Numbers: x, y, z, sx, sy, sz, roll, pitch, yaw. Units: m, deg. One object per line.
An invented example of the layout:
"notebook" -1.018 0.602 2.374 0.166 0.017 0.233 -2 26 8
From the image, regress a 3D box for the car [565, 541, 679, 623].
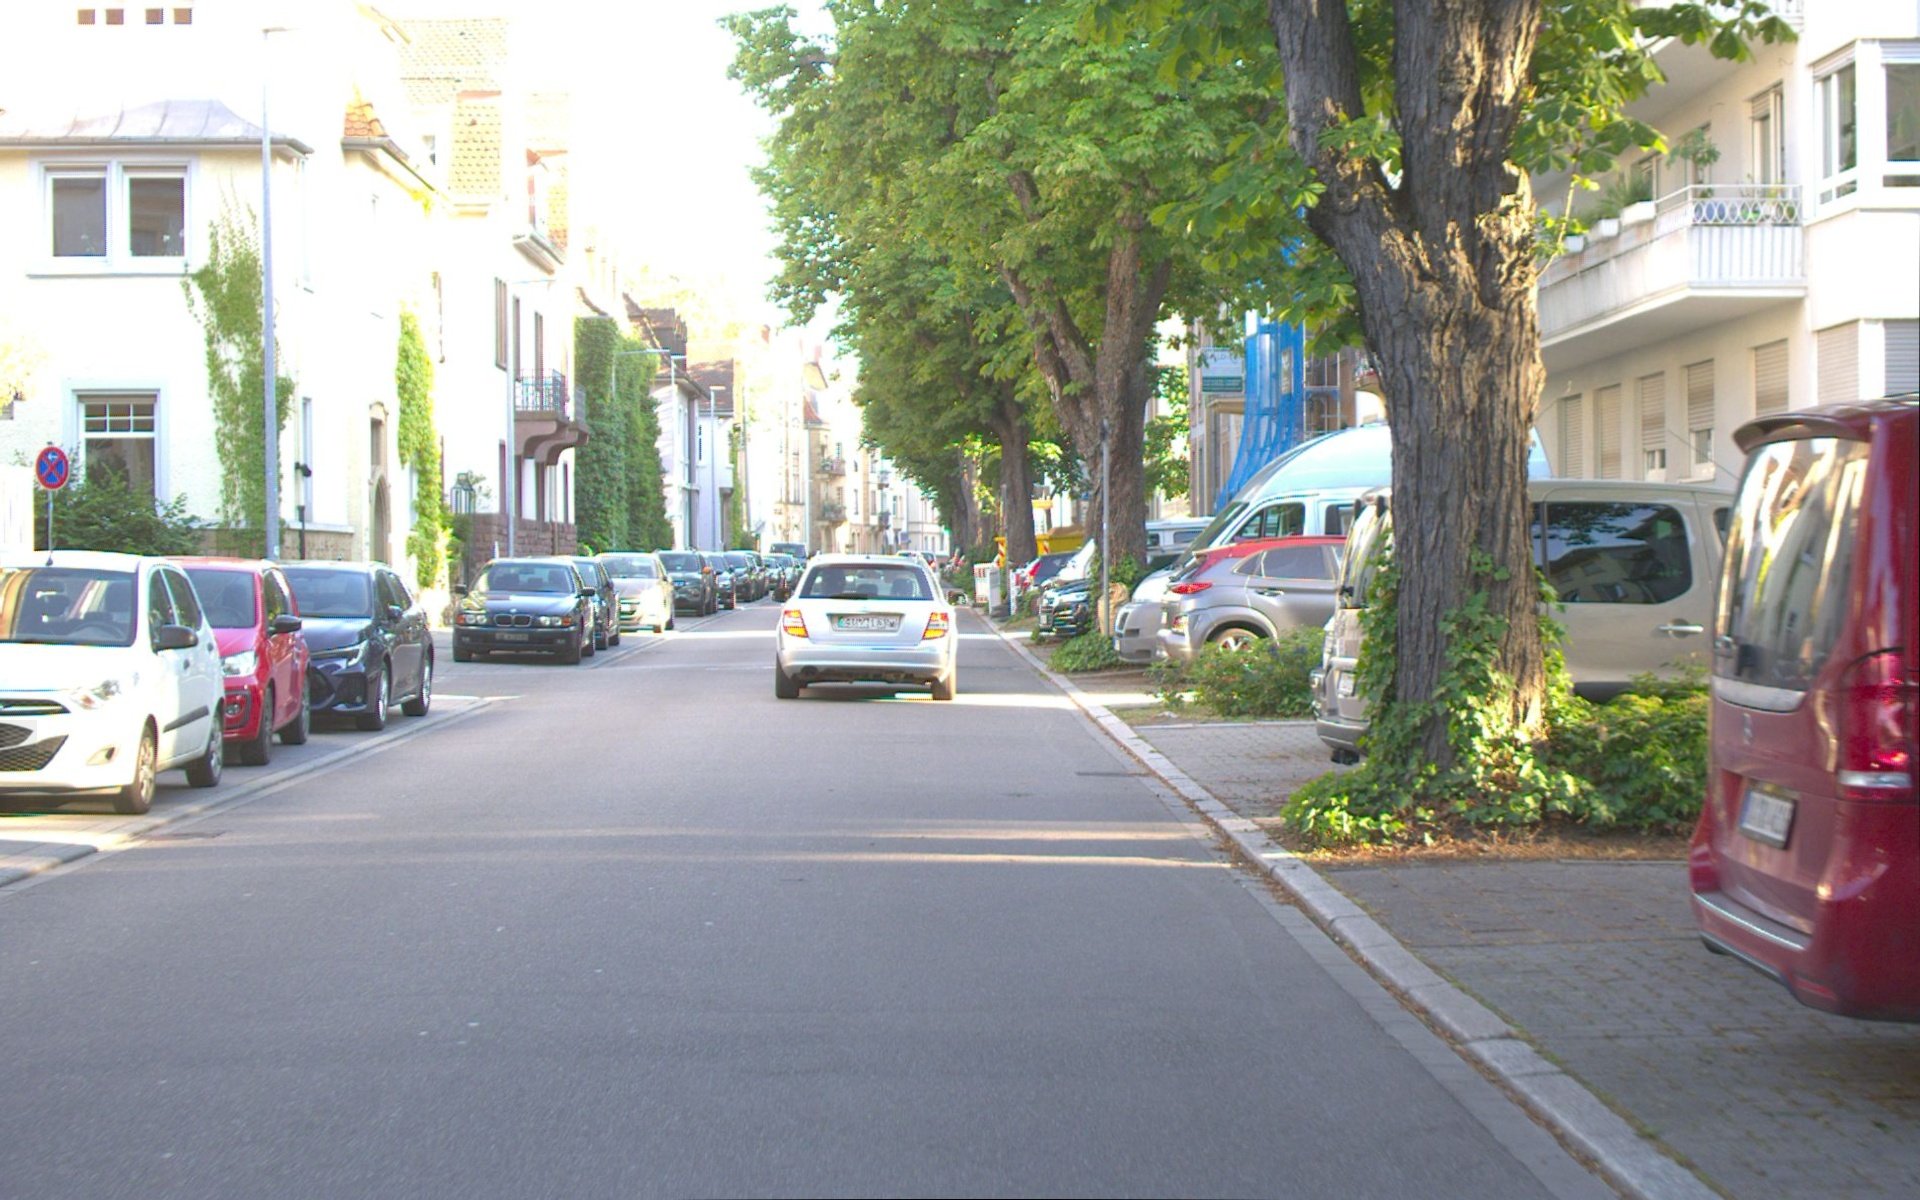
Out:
"car" -6.308 -0.361 64.445 1.799 1.477 3.857 0 1 -1

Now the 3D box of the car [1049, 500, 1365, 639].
"car" 3.680 -0.479 51.903 4.518 2.007 2.251 -1 1 -2

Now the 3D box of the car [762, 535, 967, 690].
"car" -0.906 0.115 34.732 1.817 1.468 4.216 0 0 2

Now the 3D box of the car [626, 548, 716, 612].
"car" -6.581 -0.475 78.666 1.799 1.382 3.606 0 1 -1

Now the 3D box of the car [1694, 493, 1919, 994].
"car" 4.564 0.423 11.700 3.781 1.583 1.793 0 1 2

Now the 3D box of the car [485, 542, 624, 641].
"car" -6.356 -0.165 54.202 1.799 1.477 3.857 0 1 -1

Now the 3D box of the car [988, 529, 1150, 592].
"car" 2.612 -0.954 82.994 3.844 1.477 1.805 0 1 0

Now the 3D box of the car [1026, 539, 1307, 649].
"car" 2.868 -0.096 48.427 3.844 1.477 1.805 0 1 0

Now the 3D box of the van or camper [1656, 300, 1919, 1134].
"van or camper" 4.206 0.279 9.188 4.313 2.007 2.000 0 1 2

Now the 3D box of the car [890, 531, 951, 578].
"car" -1.273 -1.460 112.226 1.817 1.468 4.216 0 0 2

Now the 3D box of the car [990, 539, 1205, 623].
"car" 2.481 -0.362 62.820 3.844 1.477 1.805 0 1 0

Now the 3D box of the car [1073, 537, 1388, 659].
"car" 3.384 -0.036 43.566 3.844 1.477 1.805 0 1 0

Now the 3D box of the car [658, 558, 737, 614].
"car" -6.746 -0.372 88.556 1.799 1.382 3.606 0 1 -1

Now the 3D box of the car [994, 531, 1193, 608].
"car" 2.607 -0.609 67.886 3.844 1.477 1.805 0 1 0

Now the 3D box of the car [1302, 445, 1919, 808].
"car" 4.119 0.114 19.378 4.129 1.915 1.891 -1 1 -2

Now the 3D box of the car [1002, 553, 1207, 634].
"car" 2.733 -0.128 65.625 3.844 1.477 1.805 0 1 0

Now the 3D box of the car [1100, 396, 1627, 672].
"car" 4.469 -0.750 38.778 5.541 2.958 2.472 -1 1 -3

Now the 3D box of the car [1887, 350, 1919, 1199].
"car" 4.282 0.430 6.277 4.625 1.830 1.954 0 1 -1

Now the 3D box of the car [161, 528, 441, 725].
"car" -5.770 0.181 30.529 1.799 1.639 3.857 0 1 -1

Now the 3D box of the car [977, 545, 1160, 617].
"car" 2.300 -0.414 73.453 3.844 1.477 1.805 0 1 0

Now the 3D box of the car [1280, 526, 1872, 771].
"car" 4.039 0.290 22.884 3.594 1.536 1.650 -1 1 -2

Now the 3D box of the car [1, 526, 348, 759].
"car" -5.875 0.312 26.144 1.799 1.639 3.857 0 0 -1

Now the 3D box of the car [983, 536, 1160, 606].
"car" 2.433 -0.649 75.926 3.844 1.477 1.805 0 1 0

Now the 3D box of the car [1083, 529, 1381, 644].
"car" 3.605 -0.197 46.054 3.844 1.477 1.805 0 1 0

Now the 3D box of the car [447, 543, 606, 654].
"car" -6.071 -0.051 48.475 1.799 1.477 3.857 0 1 -1

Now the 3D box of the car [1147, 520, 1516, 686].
"car" 3.828 0.010 35.770 3.594 1.654 1.650 -1 1 -2

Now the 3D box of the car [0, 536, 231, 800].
"car" -5.653 0.370 21.317 1.659 1.494 3.754 0 0 -3

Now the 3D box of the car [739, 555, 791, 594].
"car" -7.344 -0.971 129.552 1.799 1.382 3.606 0 1 -1

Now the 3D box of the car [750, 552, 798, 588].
"car" -7.526 -1.218 139.020 1.799 1.382 3.606 0 1 -1

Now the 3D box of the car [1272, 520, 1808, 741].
"car" 4.193 0.197 25.198 3.594 1.536 1.650 -1 1 -2

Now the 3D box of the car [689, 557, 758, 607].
"car" -6.859 -0.539 99.928 1.799 1.382 3.606 0 1 -1

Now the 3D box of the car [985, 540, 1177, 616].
"car" 2.440 -0.458 70.064 3.844 1.477 1.805 0 1 0

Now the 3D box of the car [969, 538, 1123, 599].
"car" 2.163 -0.810 87.143 3.844 1.477 1.805 0 1 0
